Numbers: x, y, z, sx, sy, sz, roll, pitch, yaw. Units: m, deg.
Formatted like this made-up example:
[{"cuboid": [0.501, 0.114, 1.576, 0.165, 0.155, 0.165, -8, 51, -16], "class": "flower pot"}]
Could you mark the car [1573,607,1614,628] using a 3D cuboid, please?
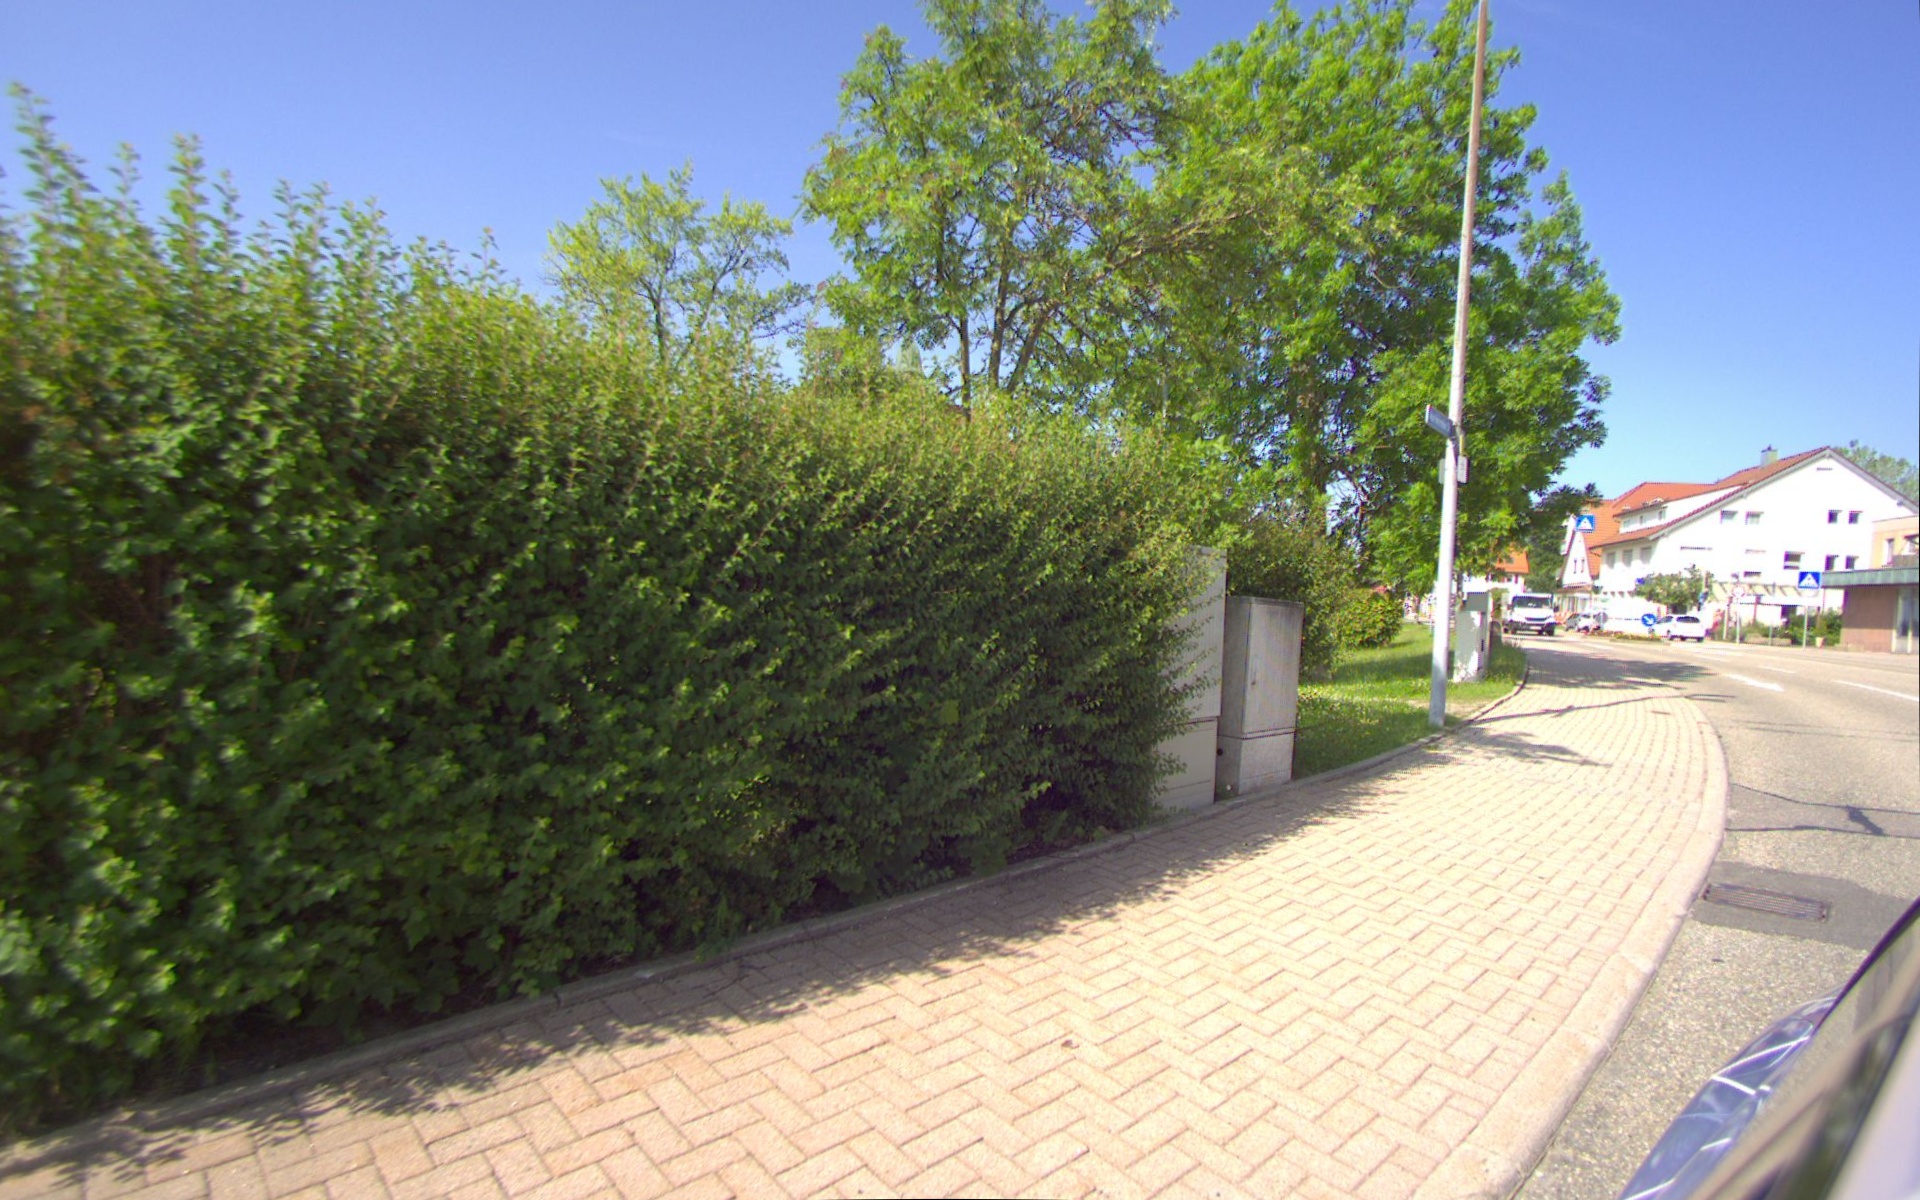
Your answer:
[{"cuboid": [46.250, 1.253, 73.942, 1.754, 1.452, 3.687, -1, -1, 21], "class": "car"}]

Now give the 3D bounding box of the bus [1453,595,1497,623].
[{"cuboid": [63.068, 1.177, 124.348, 2.683, 3.053, 15.122, 1, -1, 19], "class": "bus"}]

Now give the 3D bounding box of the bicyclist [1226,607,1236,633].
[{"cuboid": [20.526, 1.511, 76.653, 0.576, 1.950, 0.989, -1, -1, 24], "class": "bicyclist"}]

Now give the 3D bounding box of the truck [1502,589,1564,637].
[{"cuboid": [31.009, 0.653, 54.959, 1.976, 2.371, 6.447, 1, 0, 21], "class": "truck"}]

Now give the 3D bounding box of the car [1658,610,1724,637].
[{"cuboid": [40.682, 1.286, 56.424, 1.751, 1.487, 3.695, -1, -1, 16], "class": "car"}]
